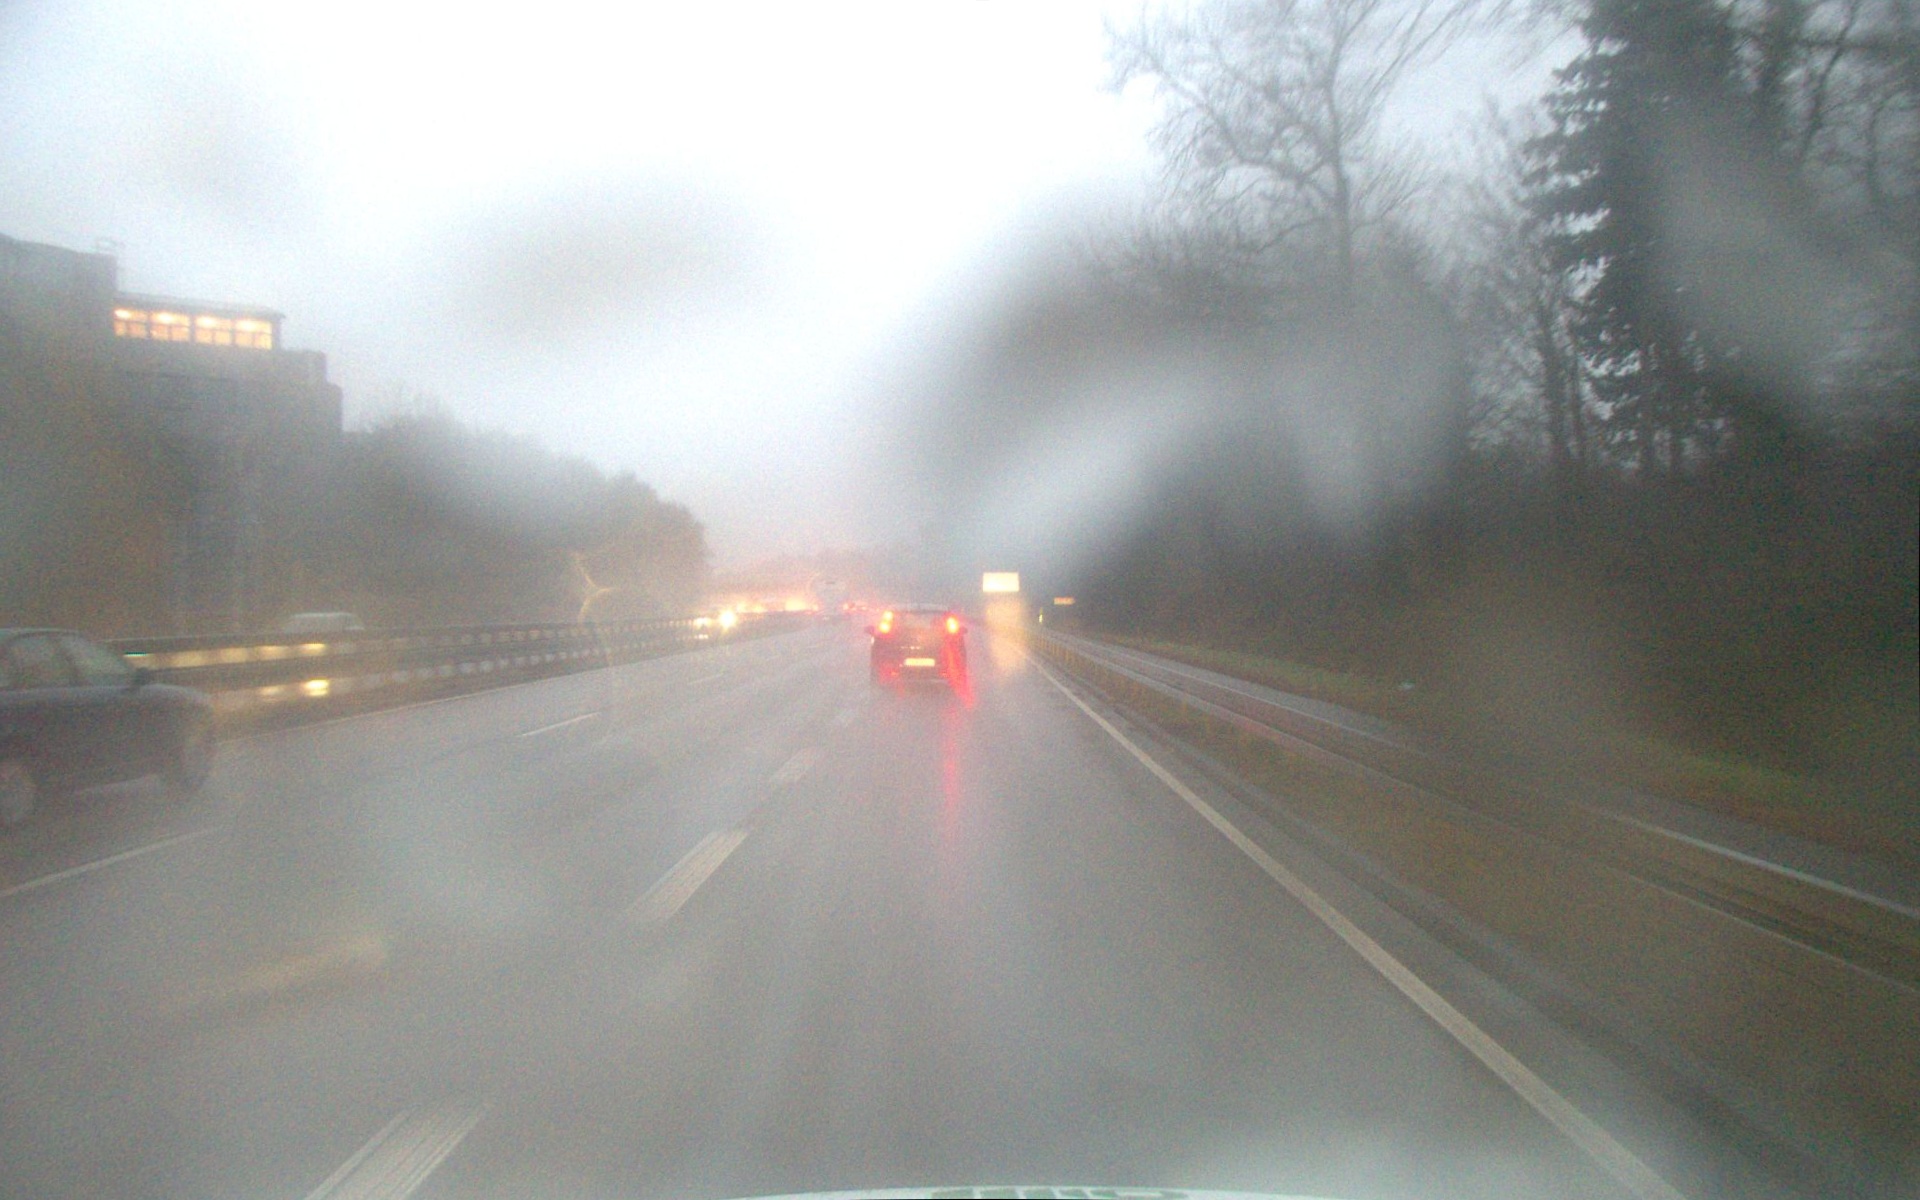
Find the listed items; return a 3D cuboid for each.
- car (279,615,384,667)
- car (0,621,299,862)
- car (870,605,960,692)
[{"bbox_3d":[-19.404,1.234,51.263,1.513,1.539,4.540,0,-1,0],"label":"car"},{"bbox_3d":[-7.060,1.006,12.949,1.739,1.561,4.703,-3,-1,1],"label":"car"},{"bbox_3d":[-0.843,0.828,29.784,1.497,1.440,3.477,2,0,-3],"label":"car"}]
